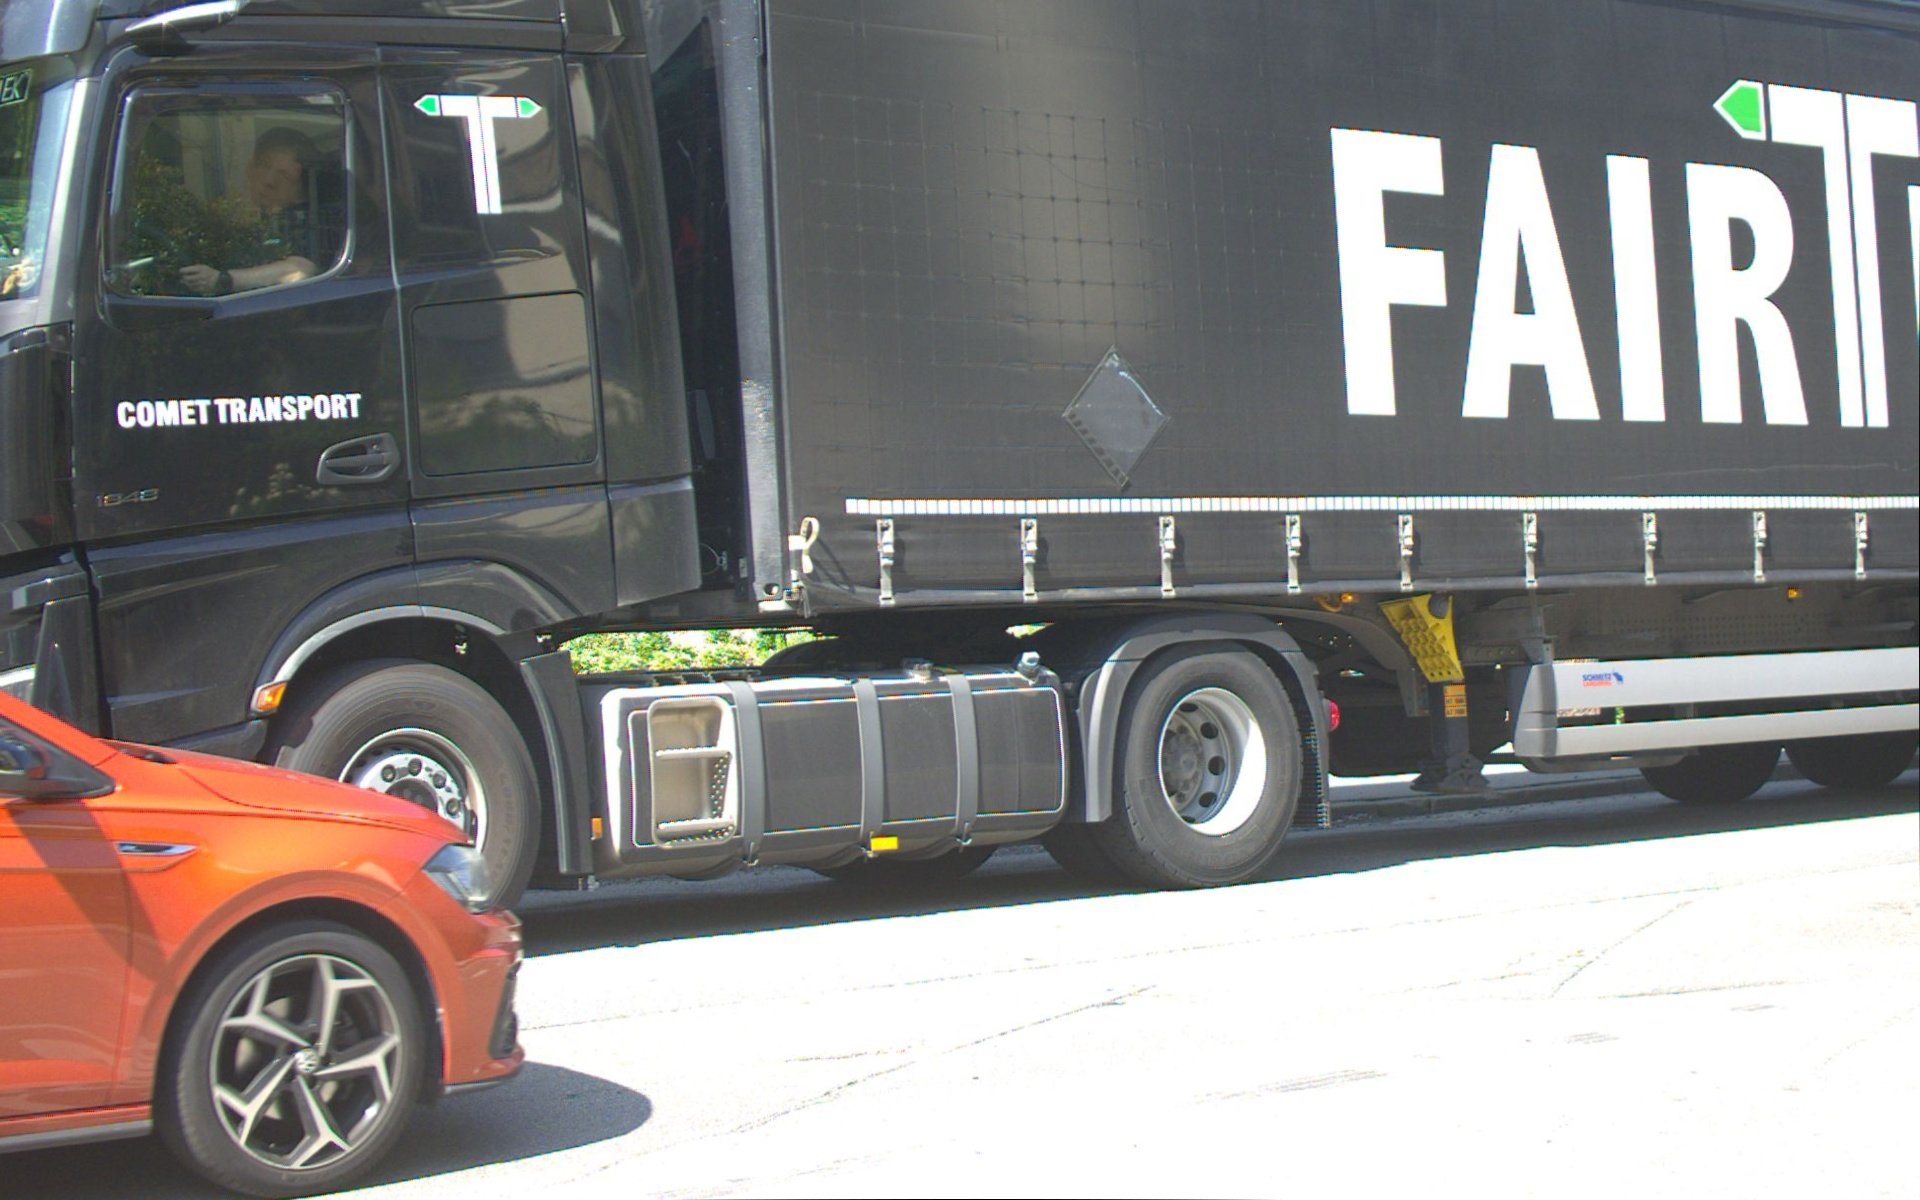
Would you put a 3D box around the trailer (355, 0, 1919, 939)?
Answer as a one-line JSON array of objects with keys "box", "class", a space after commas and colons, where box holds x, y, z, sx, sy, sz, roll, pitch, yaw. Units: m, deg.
[{"box": [3.761, -0.978, 17.677, 13.731, 4.090, 2.841, -2, -1, -39], "class": "trailer"}]

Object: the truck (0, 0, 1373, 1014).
[{"box": [-1.570, -0.804, 13.425, 5.915, 4.057, 2.838, -2, -1, -39], "class": "truck"}]

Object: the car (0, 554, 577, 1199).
[{"box": [-2.987, 0.641, 7.280, 4.006, 1.401, 1.730, -2, 1, -39], "class": "car"}]
